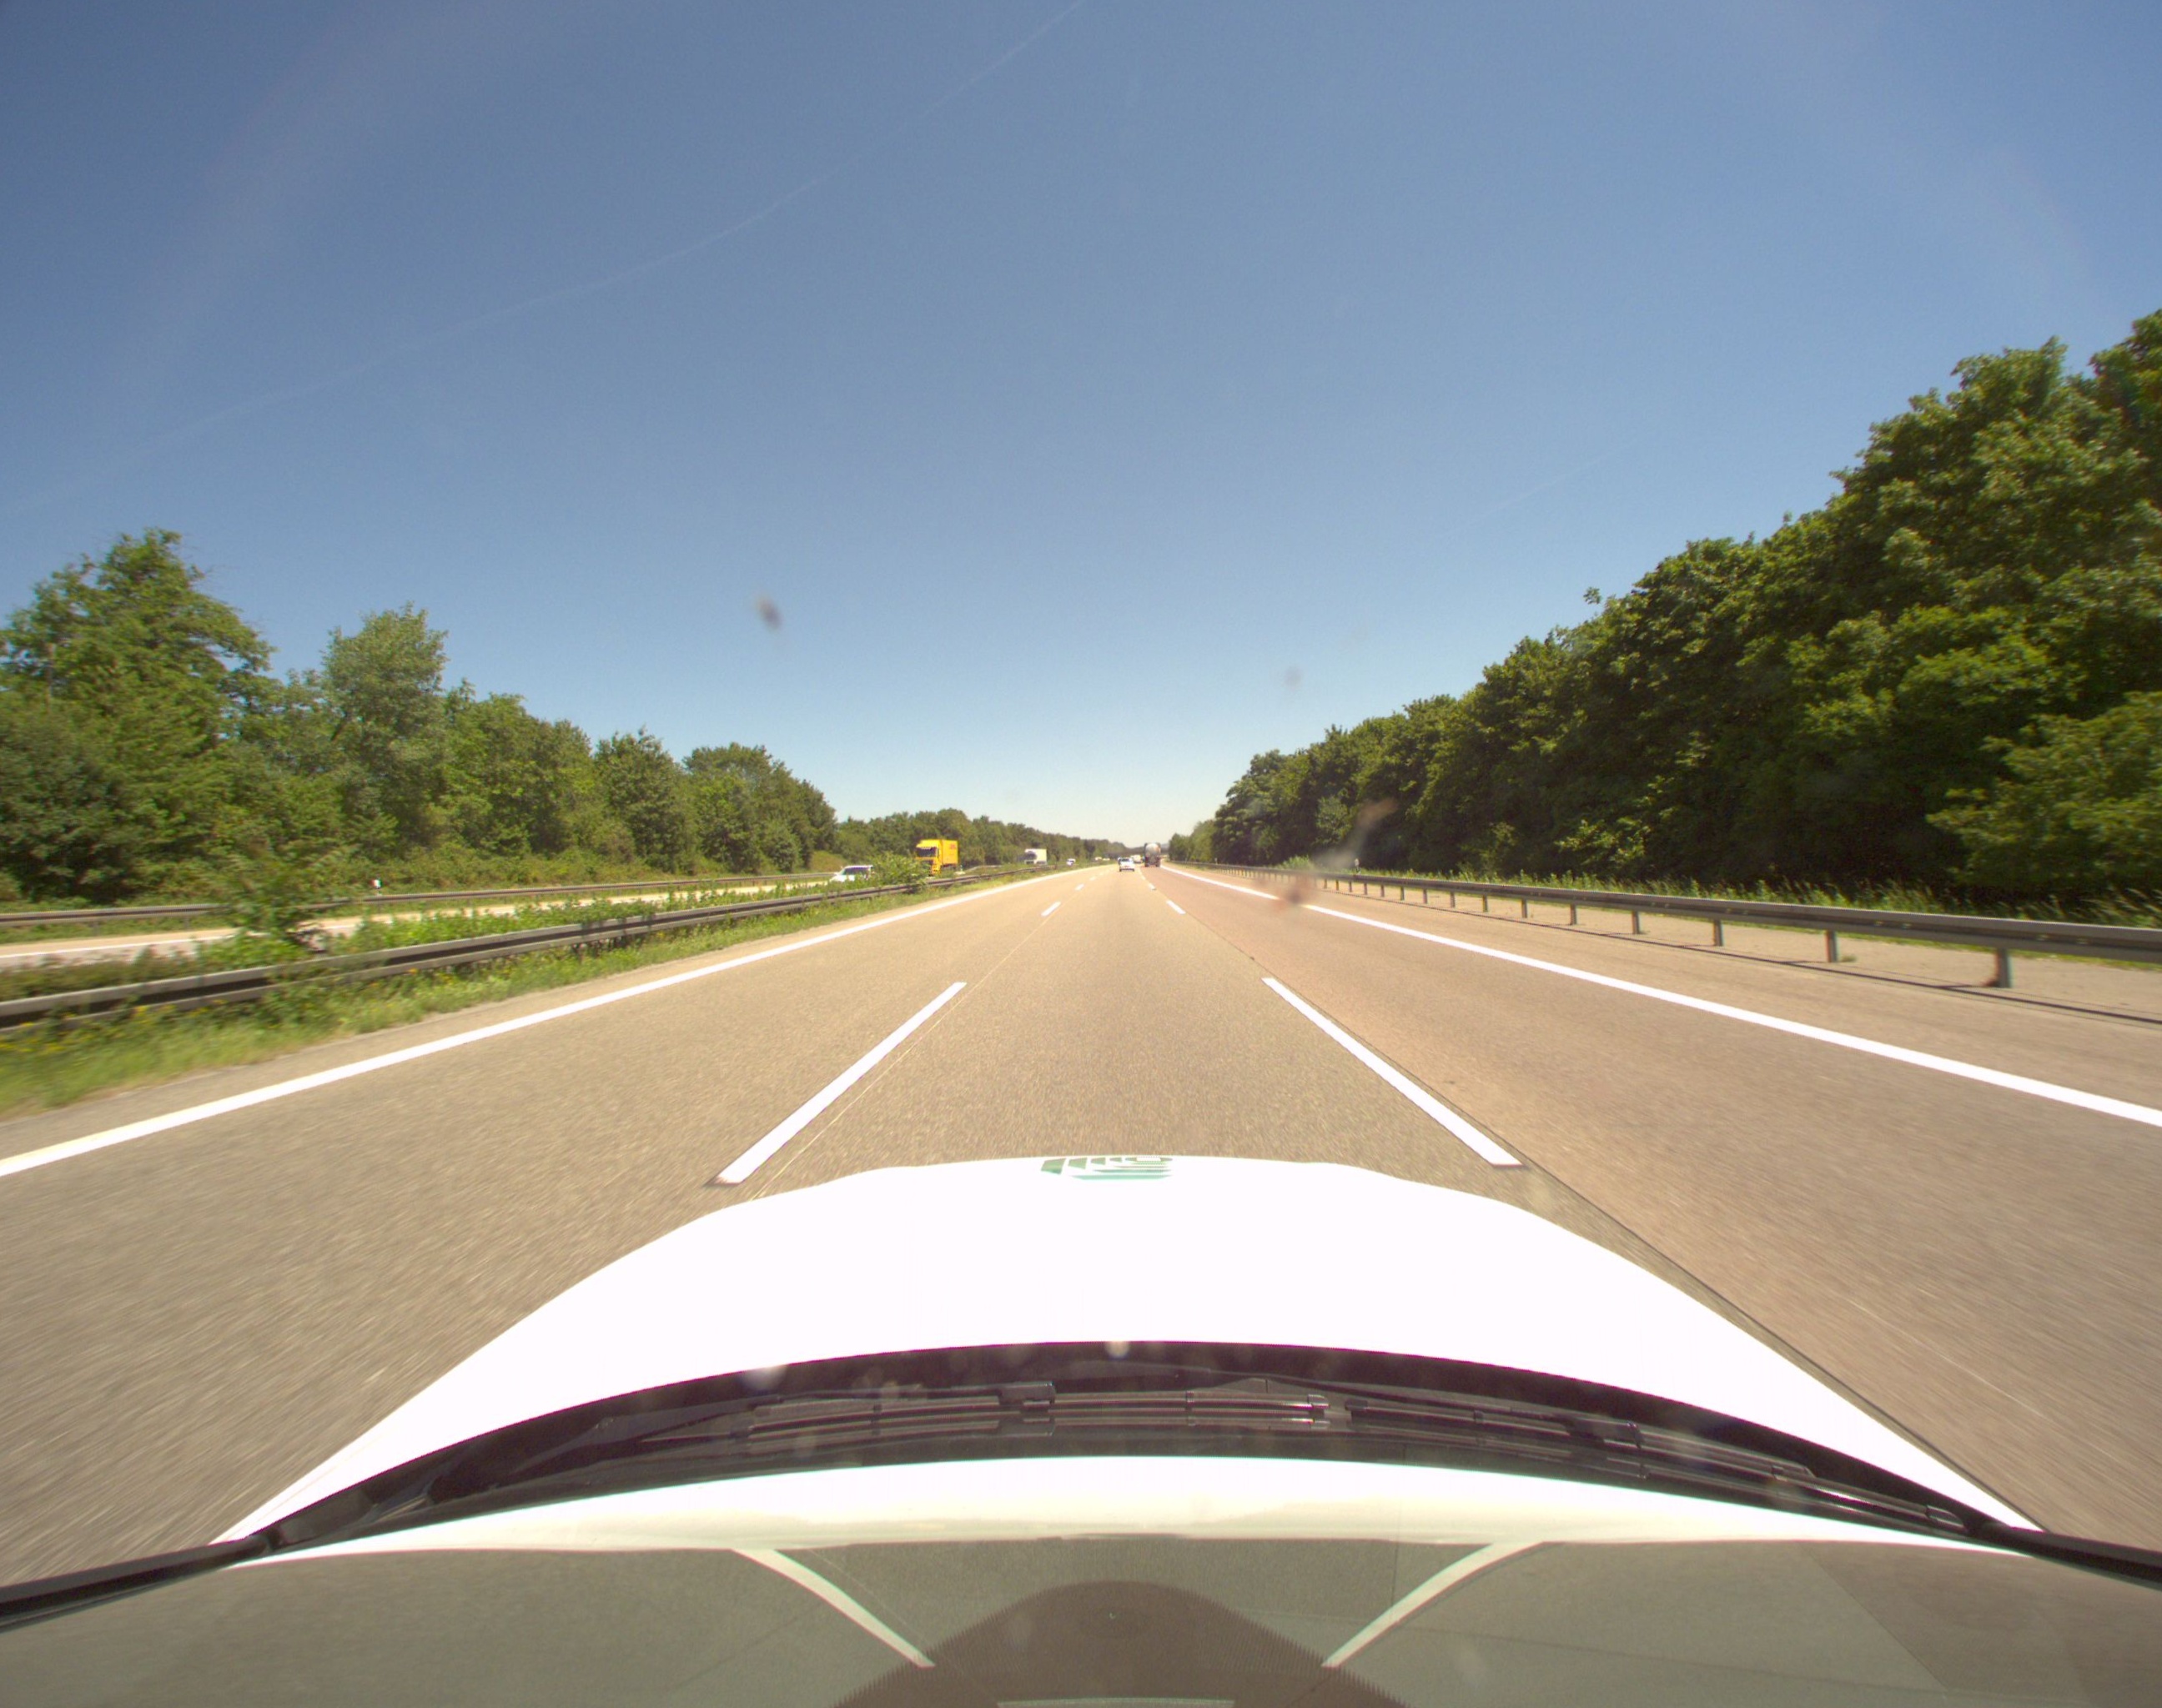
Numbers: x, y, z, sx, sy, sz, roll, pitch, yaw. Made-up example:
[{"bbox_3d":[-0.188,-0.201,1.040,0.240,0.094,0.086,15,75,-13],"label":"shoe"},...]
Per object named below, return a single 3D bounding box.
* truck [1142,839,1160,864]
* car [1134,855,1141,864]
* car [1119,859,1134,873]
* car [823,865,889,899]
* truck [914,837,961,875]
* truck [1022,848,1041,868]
[{"bbox_3d":[11.851,-0.333,138.498,2.727,4.052,10.466,-1,-1,4],"label":"truck"},{"bbox_3d":[15.720,1.511,225.768,1.985,2.343,4.391,-1,0,4],"label":"car"},{"bbox_3d":[5.084,1.329,91.460,1.620,1.479,4.004,-1,-1,4],"label":"car"},{"bbox_3d":[-11.208,1.337,40.890,1.832,1.535,4.921,-1,0,1],"label":"car"},{"bbox_3d":[-16.077,0.307,91.929,2.738,4.040,10.800,-1,-1,3],"label":"truck"},{"bbox_3d":[-10.233,0.903,168.928,3.246,3.951,6.108,-1,-1,4],"label":"truck"}]
